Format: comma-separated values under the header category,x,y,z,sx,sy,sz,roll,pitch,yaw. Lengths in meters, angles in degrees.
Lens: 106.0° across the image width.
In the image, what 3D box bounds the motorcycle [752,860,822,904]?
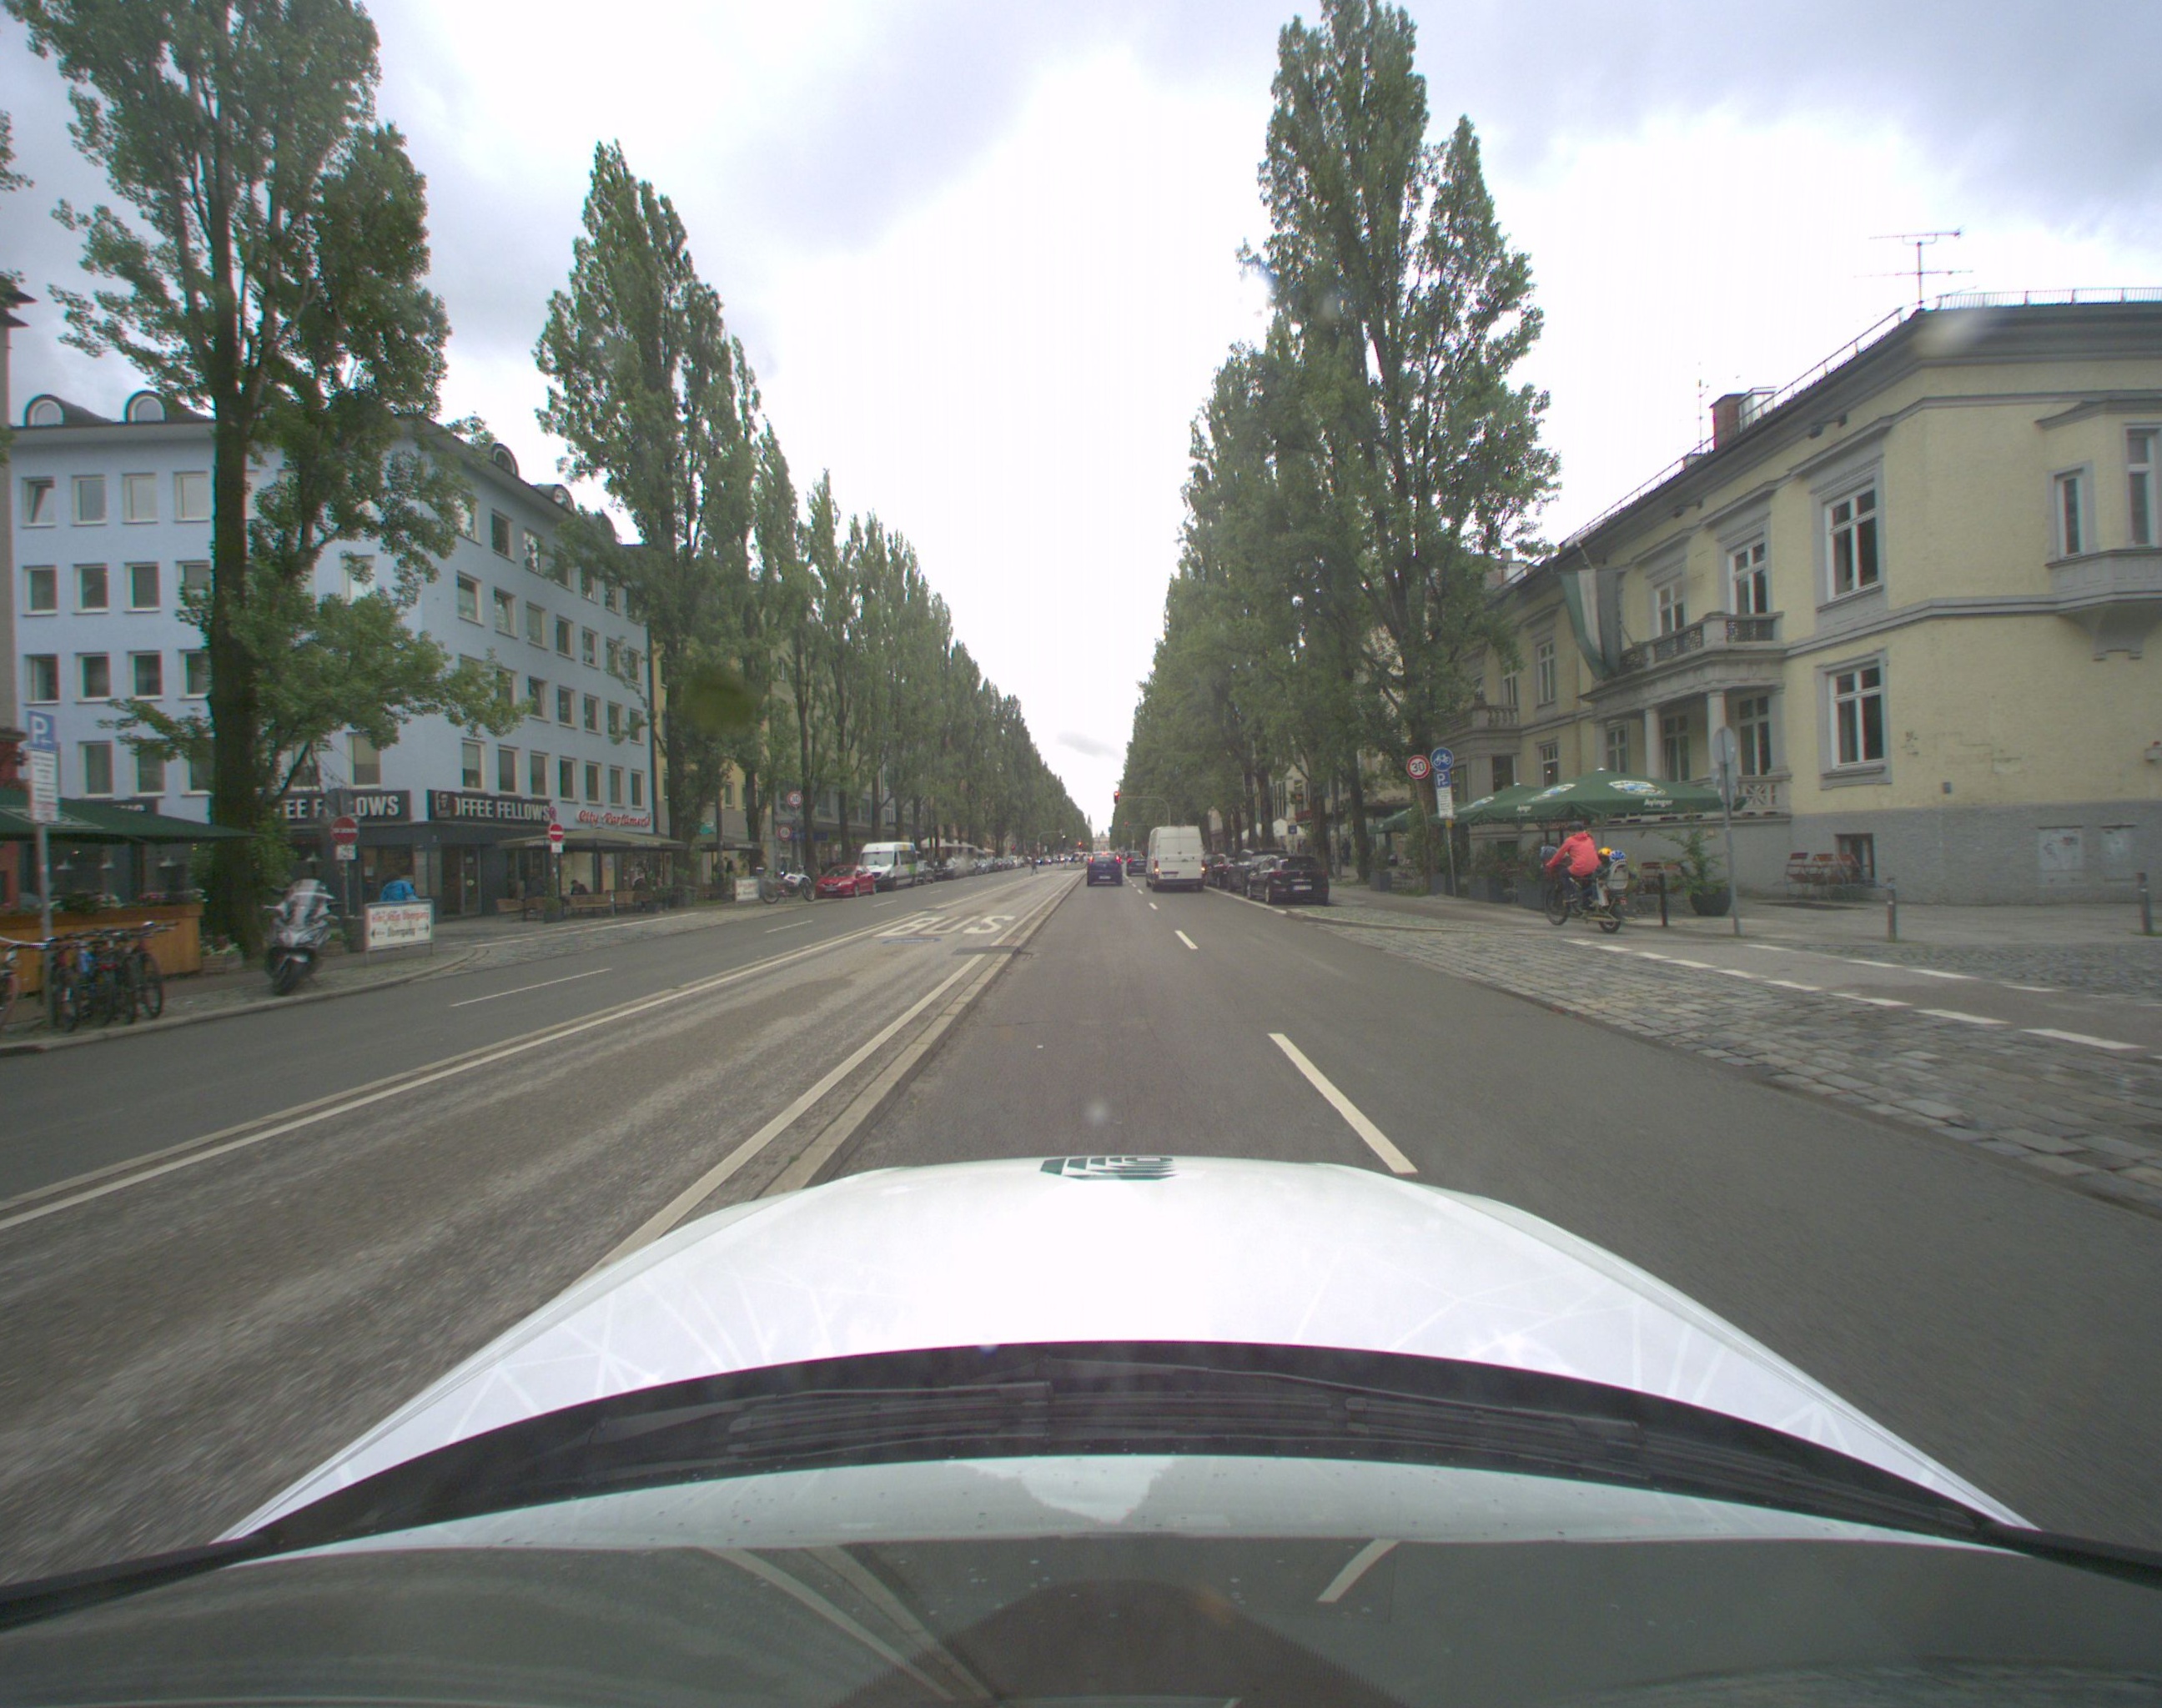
category,x,y,z,sx,sy,sz,roll,pitch,yaw
motorcycle,-11.033,1.032,30.632,2.360,1.563,0.706,-1,0,-41

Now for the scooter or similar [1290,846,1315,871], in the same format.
category,x,y,z,sx,sy,sz,roll,pitch,yaw
scooter or similar,13.024,0.244,48.000,0.634,1.376,2.493,-3,1,-2

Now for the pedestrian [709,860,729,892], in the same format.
category,x,y,z,sx,sy,sz,roll,pitch,yaw
pedestrian,-19.124,1.164,43.004,0.691,1.636,0.567,-2,0,25

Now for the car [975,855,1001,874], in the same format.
category,x,y,z,sx,sy,sz,roll,pitch,yaw
car,-9.252,1.047,81.231,1.859,1.665,4.402,-3,0,1

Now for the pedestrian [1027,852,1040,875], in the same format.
category,x,y,z,sx,sy,sz,roll,pitch,yaw
pedestrian,-3.526,0.700,60.296,0.857,1.684,0.626,-2,0,-2

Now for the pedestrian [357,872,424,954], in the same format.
category,x,y,z,sx,sy,sz,roll,pitch,yaw
pedestrian,-14.719,1.231,17.390,0.699,1.647,0.945,-2,0,-15

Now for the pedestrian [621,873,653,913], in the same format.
category,x,y,z,sx,sy,sz,roll,pitch,yaw
pedestrian,-15.802,1.392,29.019,0.711,1.362,0.700,-2,0,-1

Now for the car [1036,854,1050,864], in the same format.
category,x,y,z,sx,sy,sz,roll,pitch,yaw
car,-5.875,0.801,126.441,1.691,1.462,4.714,-4,0,1

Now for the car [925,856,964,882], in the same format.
category,x,y,z,sx,sy,sz,roll,pitch,yaw
car,-9.862,1.057,59.191,1.859,1.664,4.612,-3,0,1

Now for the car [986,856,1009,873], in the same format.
category,x,y,z,sx,sy,sz,roll,pitch,yaw
car,-8.996,1.079,87.766,1.859,1.665,4.121,-3,0,1

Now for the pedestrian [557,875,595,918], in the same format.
category,x,y,z,sx,sy,sz,roll,pitch,yaw
pedestrian,-16.896,1.408,27.267,0.694,1.362,0.820,-2,0,4

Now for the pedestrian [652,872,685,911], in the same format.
category,x,y,z,sx,sy,sz,roll,pitch,yaw
pedestrian,-15.045,1.353,29.717,0.695,1.362,0.848,-2,0,0

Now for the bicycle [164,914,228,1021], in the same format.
category,x,y,z,sx,sy,sz,roll,pitch,yaw
bicycle,-10.865,1.343,9.984,1.956,1.125,0.363,-1,-1,38

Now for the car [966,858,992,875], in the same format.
category,x,y,z,sx,sy,sz,roll,pitch,yaw
car,-9.407,1.142,75.643,1.727,1.425,4.144,-4,0,1

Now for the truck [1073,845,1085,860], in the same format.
category,x,y,z,sx,sy,sz,roll,pitch,yaw
truck,-0.510,-0.361,186.948,2.374,3.346,7.113,-2,0,1

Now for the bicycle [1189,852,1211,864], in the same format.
category,x,y,z,sx,sy,sz,roll,pitch,yaw
bicycle,12.784,0.393,87.418,2.220,1.204,0.626,-2,0,-1

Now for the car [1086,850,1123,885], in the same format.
category,x,y,z,sx,sy,sz,roll,pitch,yaw
car,1.124,0.613,39.272,1.665,1.568,4.002,-1,0,2

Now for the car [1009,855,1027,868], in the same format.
category,x,y,z,sx,sy,sz,roll,pitch,yaw
car,-8.514,0.966,110.659,1.859,1.665,4.121,-3,0,1

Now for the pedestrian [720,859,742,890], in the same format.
category,x,y,z,sx,sy,sz,roll,pitch,yaw
pedestrian,-18.685,1.084,43.471,0.691,1.636,0.731,-2,0,25

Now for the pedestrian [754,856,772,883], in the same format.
category,x,y,z,sx,sy,sz,roll,pitch,yaw
pedestrian,-19.506,0.942,49.971,0.695,1.636,0.727,-2,0,3

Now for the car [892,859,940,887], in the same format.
category,x,y,z,sx,sy,sz,roll,pitch,yaw
car,-10.289,1.145,51.092,1.859,1.552,4.415,-4,0,1

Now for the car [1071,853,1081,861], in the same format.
category,x,y,z,sx,sy,sz,roll,pitch,yaw
car,-0.896,0.614,157.969,1.728,1.465,3.366,-2,0,1

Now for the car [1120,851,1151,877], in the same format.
category,x,y,z,sx,sy,sz,roll,pitch,yaw
car,3.592,0.644,54.409,1.889,1.622,4.002,-1,0,2

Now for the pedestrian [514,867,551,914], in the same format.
category,x,y,z,sx,sy,sz,roll,pitch,yaw
pedestrian,-20.351,1.348,30.242,0.753,1.686,0.786,-2,0,4

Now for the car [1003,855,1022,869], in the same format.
category,x,y,z,sx,sy,sz,roll,pitch,yaw
car,-8.706,0.997,103.383,1.859,1.665,4.121,-3,0,1

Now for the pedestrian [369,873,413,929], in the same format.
category,x,y,z,sx,sy,sz,roll,pitch,yaw
pedestrian,-22.822,1.531,26.946,0.953,1.773,0.693,-2,0,-29

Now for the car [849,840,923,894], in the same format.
category,x,y,z,sx,sy,sz,roll,pitch,yaw
car,-10.402,0.655,44.052,1.998,2.567,6.914,-3,0,1

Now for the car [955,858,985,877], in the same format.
category,x,y,z,sx,sy,sz,roll,pitch,yaw
car,-9.576,1.117,70.479,1.792,1.488,4.352,-4,0,1

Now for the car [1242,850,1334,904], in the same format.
category,x,y,z,sx,sy,sz,roll,pitch,yaw
car,6.053,0.627,24.259,1.689,1.416,3.950,-2,0,0

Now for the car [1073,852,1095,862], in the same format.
category,x,y,z,sx,sy,sz,roll,pitch,yaw
car,0.452,0.463,140.678,3.368,1.561,1.728,-2,0,-22

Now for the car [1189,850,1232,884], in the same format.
category,x,y,z,sx,sy,sz,roll,pitch,yaw
car,6.115,0.579,38.635,1.587,1.518,2.728,-1,0,-1

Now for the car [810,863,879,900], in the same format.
category,x,y,z,sx,sy,sz,roll,pitch,yaw
car,-10.659,1.204,37.038,1.731,1.419,4.149,-4,0,1

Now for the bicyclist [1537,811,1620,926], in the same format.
category,x,y,z,sx,sy,sz,roll,pitch,yaw
bicyclist,8.008,0.221,13.150,0.764,1.766,0.885,-2,0,1

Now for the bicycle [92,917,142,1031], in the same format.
category,x,y,z,sx,sy,sz,roll,pitch,yaw
bicycle,-11.234,1.348,9.476,1.956,1.125,0.284,-1,-1,38

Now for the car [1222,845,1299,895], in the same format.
category,x,y,z,sx,sy,sz,roll,pitch,yaw
car,6.394,0.533,29.505,1.797,1.637,4.446,-1,0,0

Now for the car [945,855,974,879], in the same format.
category,x,y,z,sx,sy,sz,roll,pitch,yaw
car,-9.634,1.025,64.784,1.705,1.721,3.920,-3,0,-1

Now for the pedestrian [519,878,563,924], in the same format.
category,x,y,z,sx,sy,sz,roll,pitch,yaw
pedestrian,-17.047,1.471,25.729,0.694,1.362,0.951,-2,0,4

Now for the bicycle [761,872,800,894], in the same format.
category,x,y,z,sx,sy,sz,roll,pitch,yaw
bicycle,-15.203,1.447,41.251,1.768,1.026,0.421,-2,0,-2

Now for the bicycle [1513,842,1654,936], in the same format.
category,x,y,z,sx,sy,sz,roll,pitch,yaw
bicycle,8.017,0.509,13.170,0.770,1.349,2.450,-2,0,1

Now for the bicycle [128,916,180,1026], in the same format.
category,x,y,z,sx,sy,sz,roll,pitch,yaw
bicycle,-11.058,1.349,9.700,1.956,1.125,0.284,-1,-1,38

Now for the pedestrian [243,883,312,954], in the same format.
category,x,y,z,sx,sy,sz,roll,pitch,yaw
pedestrian,-20.083,1.598,20.369,0.694,1.646,0.931,-2,1,6

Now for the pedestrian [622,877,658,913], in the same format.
category,x,y,z,sx,sy,sz,roll,pitch,yaw
pedestrian,-15.336,1.409,28.343,0.813,1.182,0.700,-2,0,0

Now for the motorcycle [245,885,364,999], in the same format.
category,x,y,z,sx,sy,sz,roll,pitch,yaw
motorcycle,-11.219,1.199,11.861,0.748,1.414,2.430,-2,0,-32

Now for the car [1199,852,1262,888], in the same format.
category,x,y,z,sx,sy,sz,roll,pitch,yaw
car,6.342,0.650,34.924,1.705,1.393,4.339,-1,0,-2

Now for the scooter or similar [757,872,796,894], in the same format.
category,x,y,z,sx,sy,sz,roll,pitch,yaw
scooter or similar,-15.166,1.442,40.569,1.768,1.026,0.421,-2,0,-2

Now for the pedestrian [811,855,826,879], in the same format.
category,x,y,z,sx,sy,sz,roll,pitch,yaw
pedestrian,-18.870,0.954,58.585,0.694,1.700,0.728,-2,0,6

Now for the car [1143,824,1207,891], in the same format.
category,x,y,z,sx,sy,sz,roll,pitch,yaw
car,3.807,0.130,34.031,2.055,2.492,6.733,-1,0,2

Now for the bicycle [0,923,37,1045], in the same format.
category,x,y,z,sx,sy,sz,roll,pitch,yaw
bicycle,-11.550,1.357,8.785,1.956,1.125,0.344,-1,-1,38
